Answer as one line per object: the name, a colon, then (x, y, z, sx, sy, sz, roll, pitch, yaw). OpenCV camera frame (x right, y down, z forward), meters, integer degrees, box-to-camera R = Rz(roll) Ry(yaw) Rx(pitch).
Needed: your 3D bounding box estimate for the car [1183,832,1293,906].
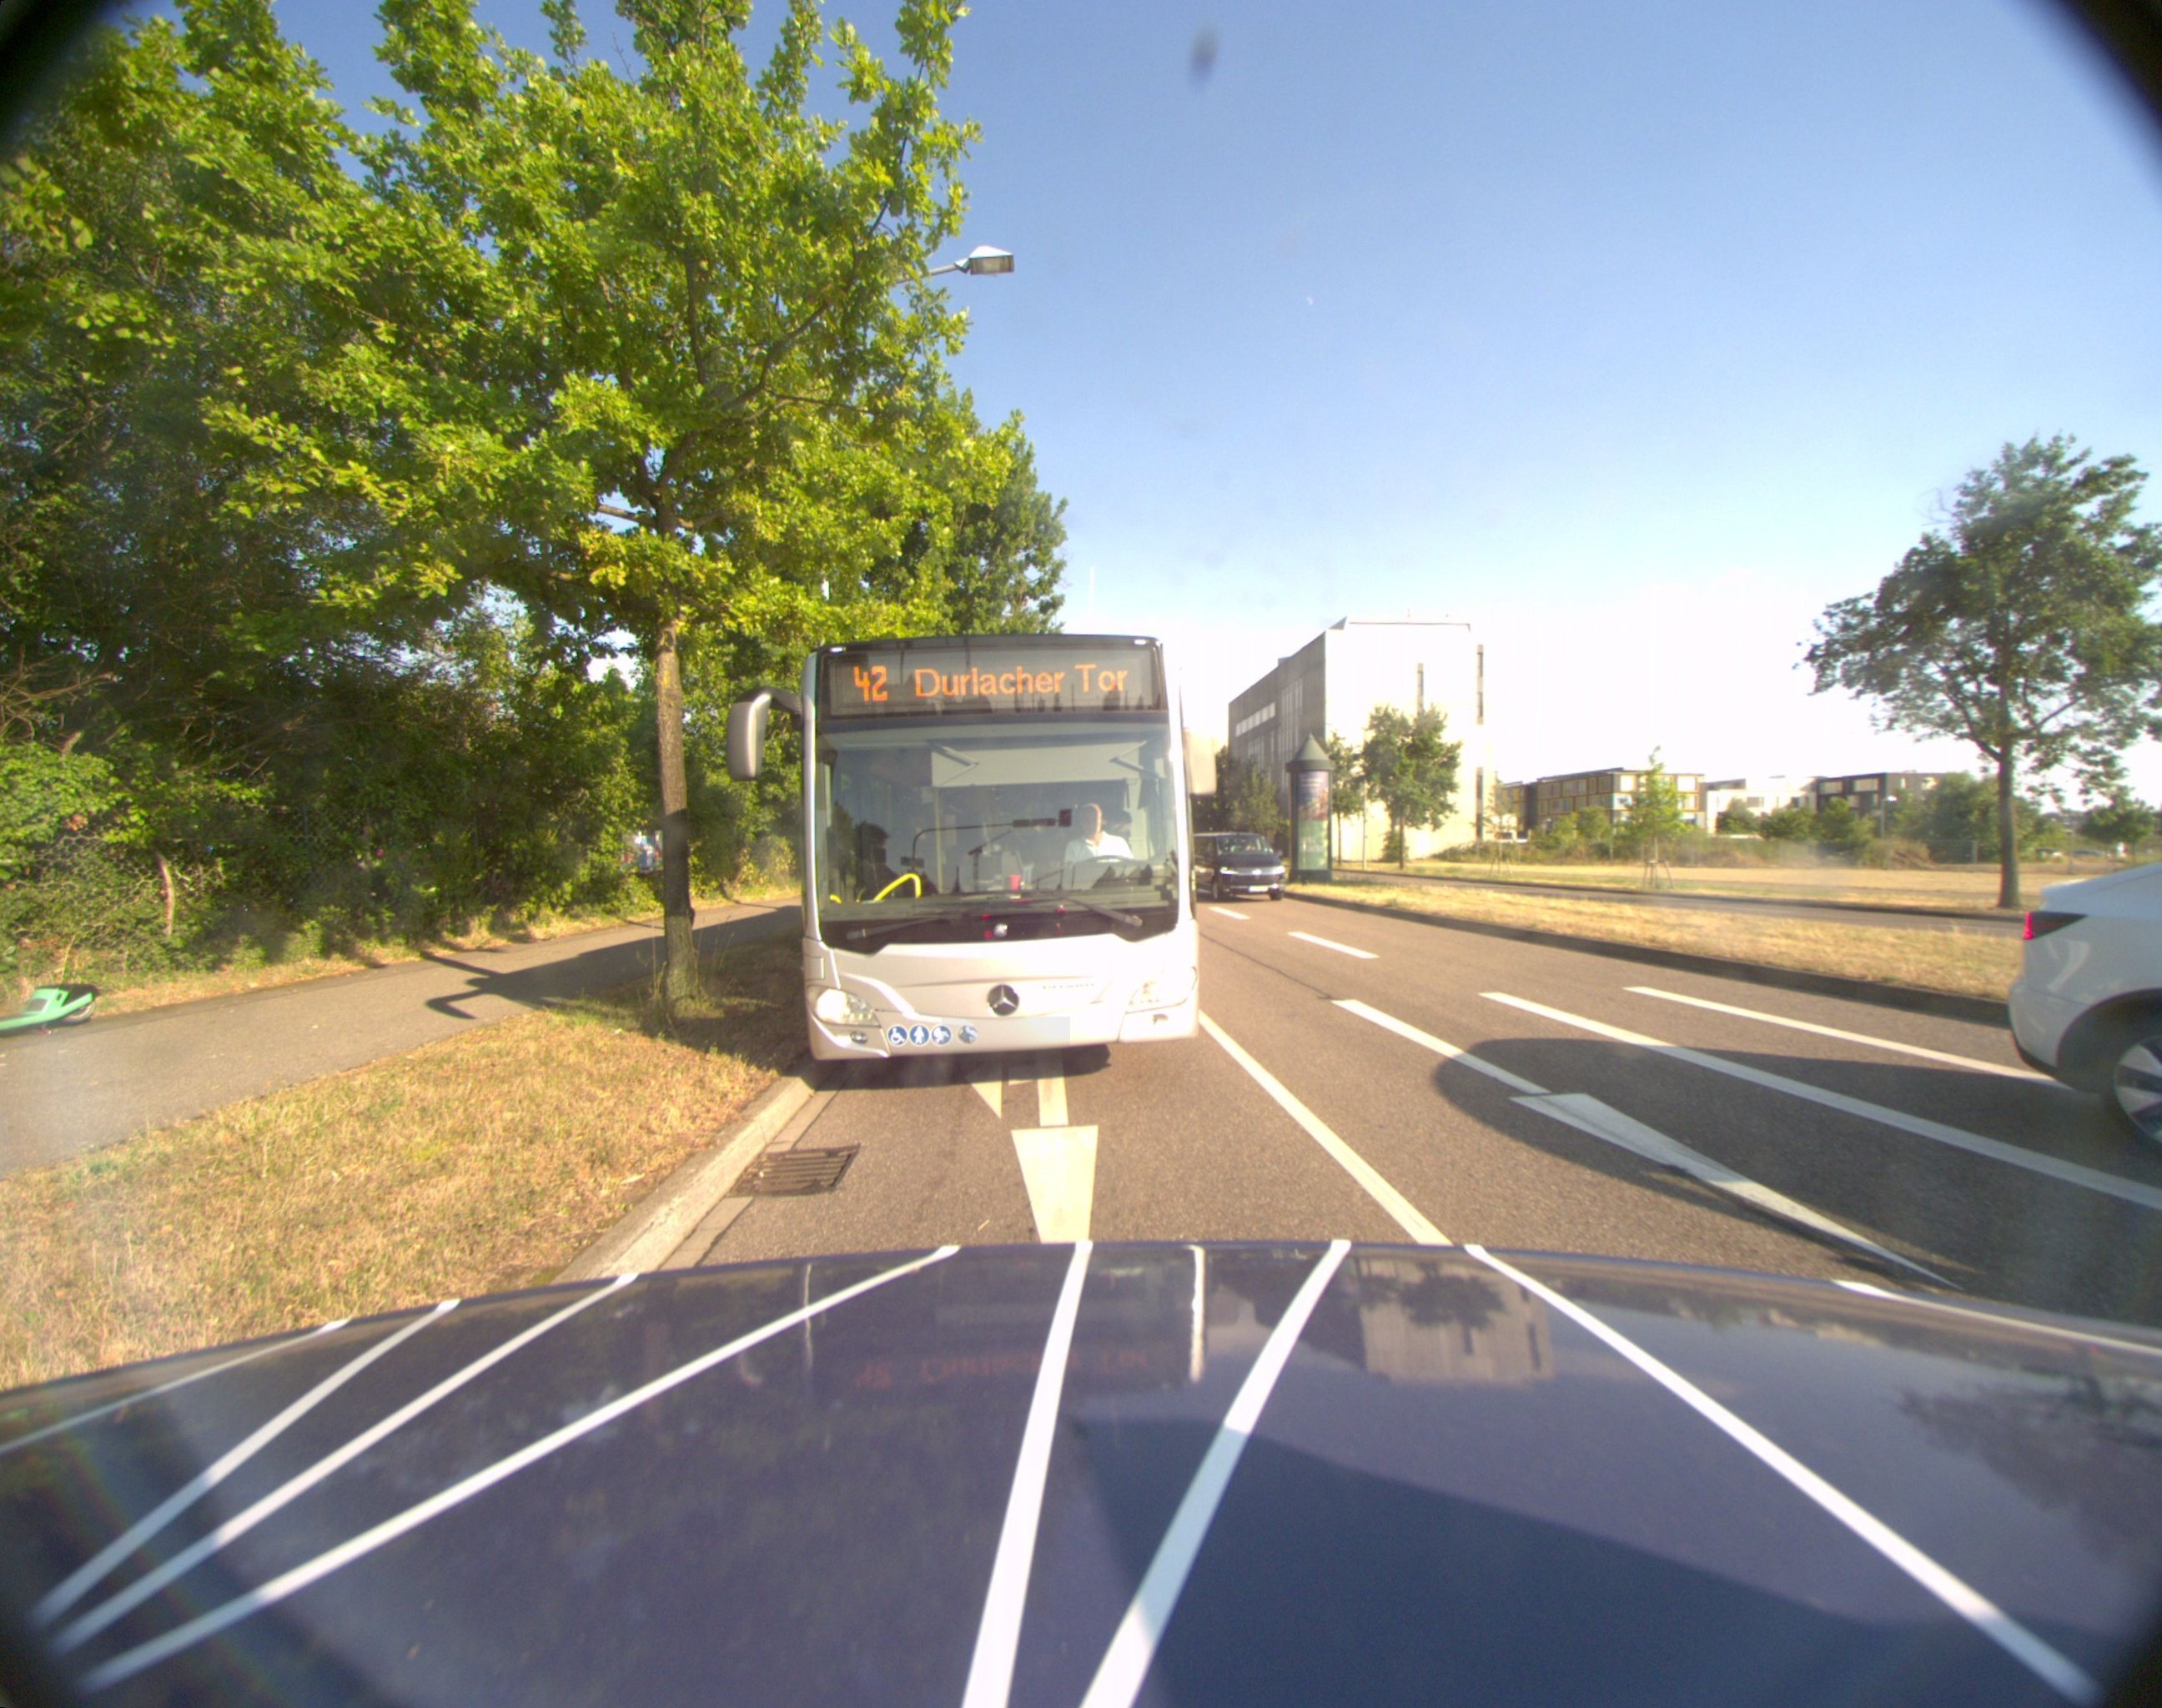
car: (4.507, 0.365, 22.656, 1.861, 1.921, 5.010, -2, 1, -4)

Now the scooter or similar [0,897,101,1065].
scooter or similar: (-7.576, 0.895, 5.215, 0.249, 1.120, 1.095, 2, 1, 1)

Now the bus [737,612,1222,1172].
bus: (-1.022, 0.160, 10.051, 2.596, 3.025, 11.713, -1, 0, -5)

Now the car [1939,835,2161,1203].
car: (5.675, 0.712, 1.846, 1.740, 1.590, 4.675, -2, 0, -4)
